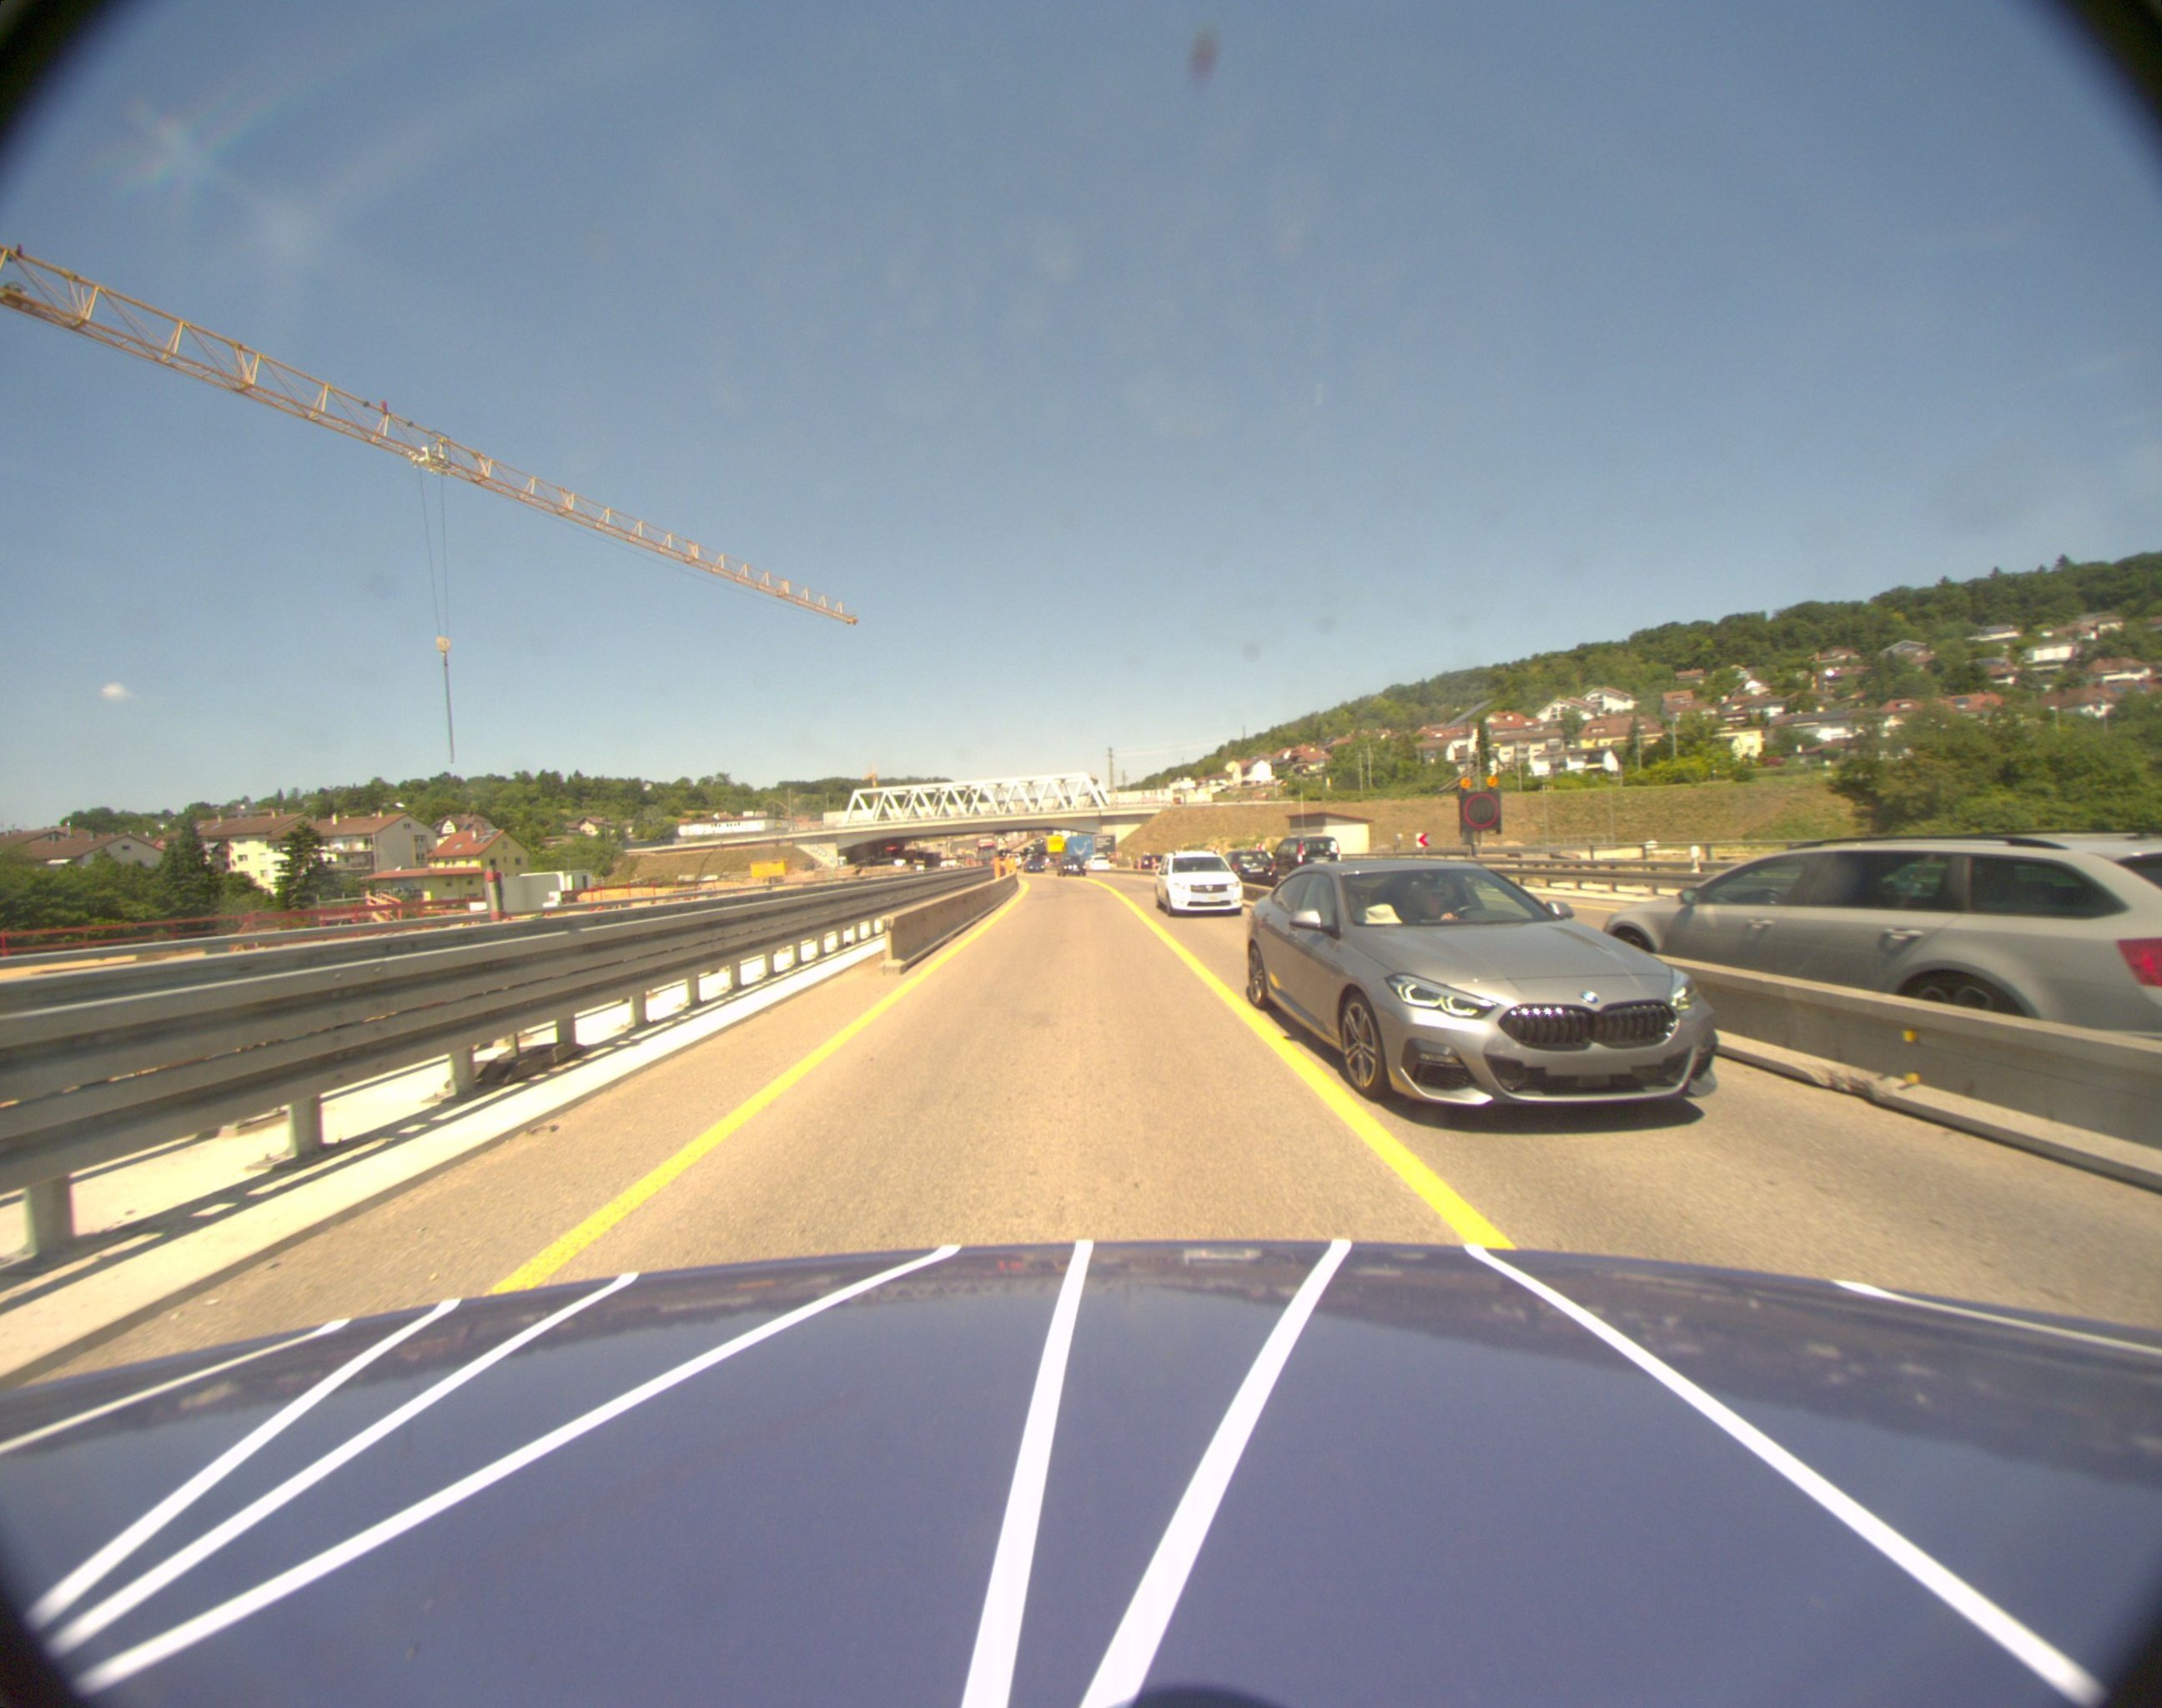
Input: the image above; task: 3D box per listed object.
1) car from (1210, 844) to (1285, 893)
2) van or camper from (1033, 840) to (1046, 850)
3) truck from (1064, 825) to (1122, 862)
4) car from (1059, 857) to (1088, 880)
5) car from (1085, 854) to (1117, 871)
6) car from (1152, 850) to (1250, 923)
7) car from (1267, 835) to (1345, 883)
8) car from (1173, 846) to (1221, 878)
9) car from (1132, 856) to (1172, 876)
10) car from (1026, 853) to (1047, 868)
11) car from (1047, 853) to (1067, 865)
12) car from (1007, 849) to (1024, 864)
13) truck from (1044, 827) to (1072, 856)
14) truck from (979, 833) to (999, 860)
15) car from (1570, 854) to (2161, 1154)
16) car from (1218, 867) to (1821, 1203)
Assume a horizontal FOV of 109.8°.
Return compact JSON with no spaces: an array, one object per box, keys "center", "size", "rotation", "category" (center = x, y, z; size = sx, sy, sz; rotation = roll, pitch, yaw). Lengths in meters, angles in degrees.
[{"center":[5.930,0.461,27.510],"size":[1.745,1.573,4.084],"rotation":[-1,1,-1],"category":"car"},{"center":[-8.477,-1.855,156.501],"size":[2.331,2.068,5.426],"rotation":[-2,1,-1],"category":"van or camper"},{"center":[1.140,-1.132,91.501],"size":[3.271,4.111,17.315],"rotation":[0,0,-11],"category":"truck"},{"center":[-0.623,1.101,59.872],"size":[1.863,1.683,4.095],"rotation":[-1,1,-6],"category":"car"},{"center":[1.864,0.789,71.073],"size":[2.017,1.516,4.189],"rotation":[-1,0,-12],"category":"car"},{"center":[2.891,0.723,19.258],"size":[1.823,1.521,4.706],"rotation":[-2,1,1],"category":"car"},{"center":[9.733,0.210,33.346],"size":[1.928,1.922,4.938],"rotation":[-1,0,0],"category":"car"},{"center":[5.675,0.359,37.612],"size":[1.745,1.464,4.084],"rotation":[0,1,-1],"category":"car"},{"center":[4.774,0.803,51.820],"size":[1.866,1.314,4.685],"rotation":[0,0,-6],"category":"car"},{"center":[-5.033,0.772,85.215],"size":[1.793,1.578,3.996],"rotation":[-4,0,-11],"category":"car"},{"center":[-3.014,0.587,95.083],"size":[1.908,1.453,4.189],"rotation":[0,1,-10],"category":"car"},{"center":[-8.936,0.361,103.774],"size":[1.793,1.870,3.996],"rotation":[-4,0,-11],"category":"car"},{"center":[-3.895,-1.920,125.164],"size":[3.176,4.531,12.075],"rotation":[0,0,-9],"category":"truck"},{"center":[-13.521,-1.053,111.491],"size":[2.704,3.704,8.501],"rotation":[0,0,-8],"category":"truck"},{"center":[6.025,0.711,5.602],"size":[1.830,1.410,4.656],"rotation":[0,0,0],"category":"car"},{"center":[2.494,0.882,5.929],"size":[1.856,1.443,4.741],"rotation":[-1,0,-1],"category":"car"}]
